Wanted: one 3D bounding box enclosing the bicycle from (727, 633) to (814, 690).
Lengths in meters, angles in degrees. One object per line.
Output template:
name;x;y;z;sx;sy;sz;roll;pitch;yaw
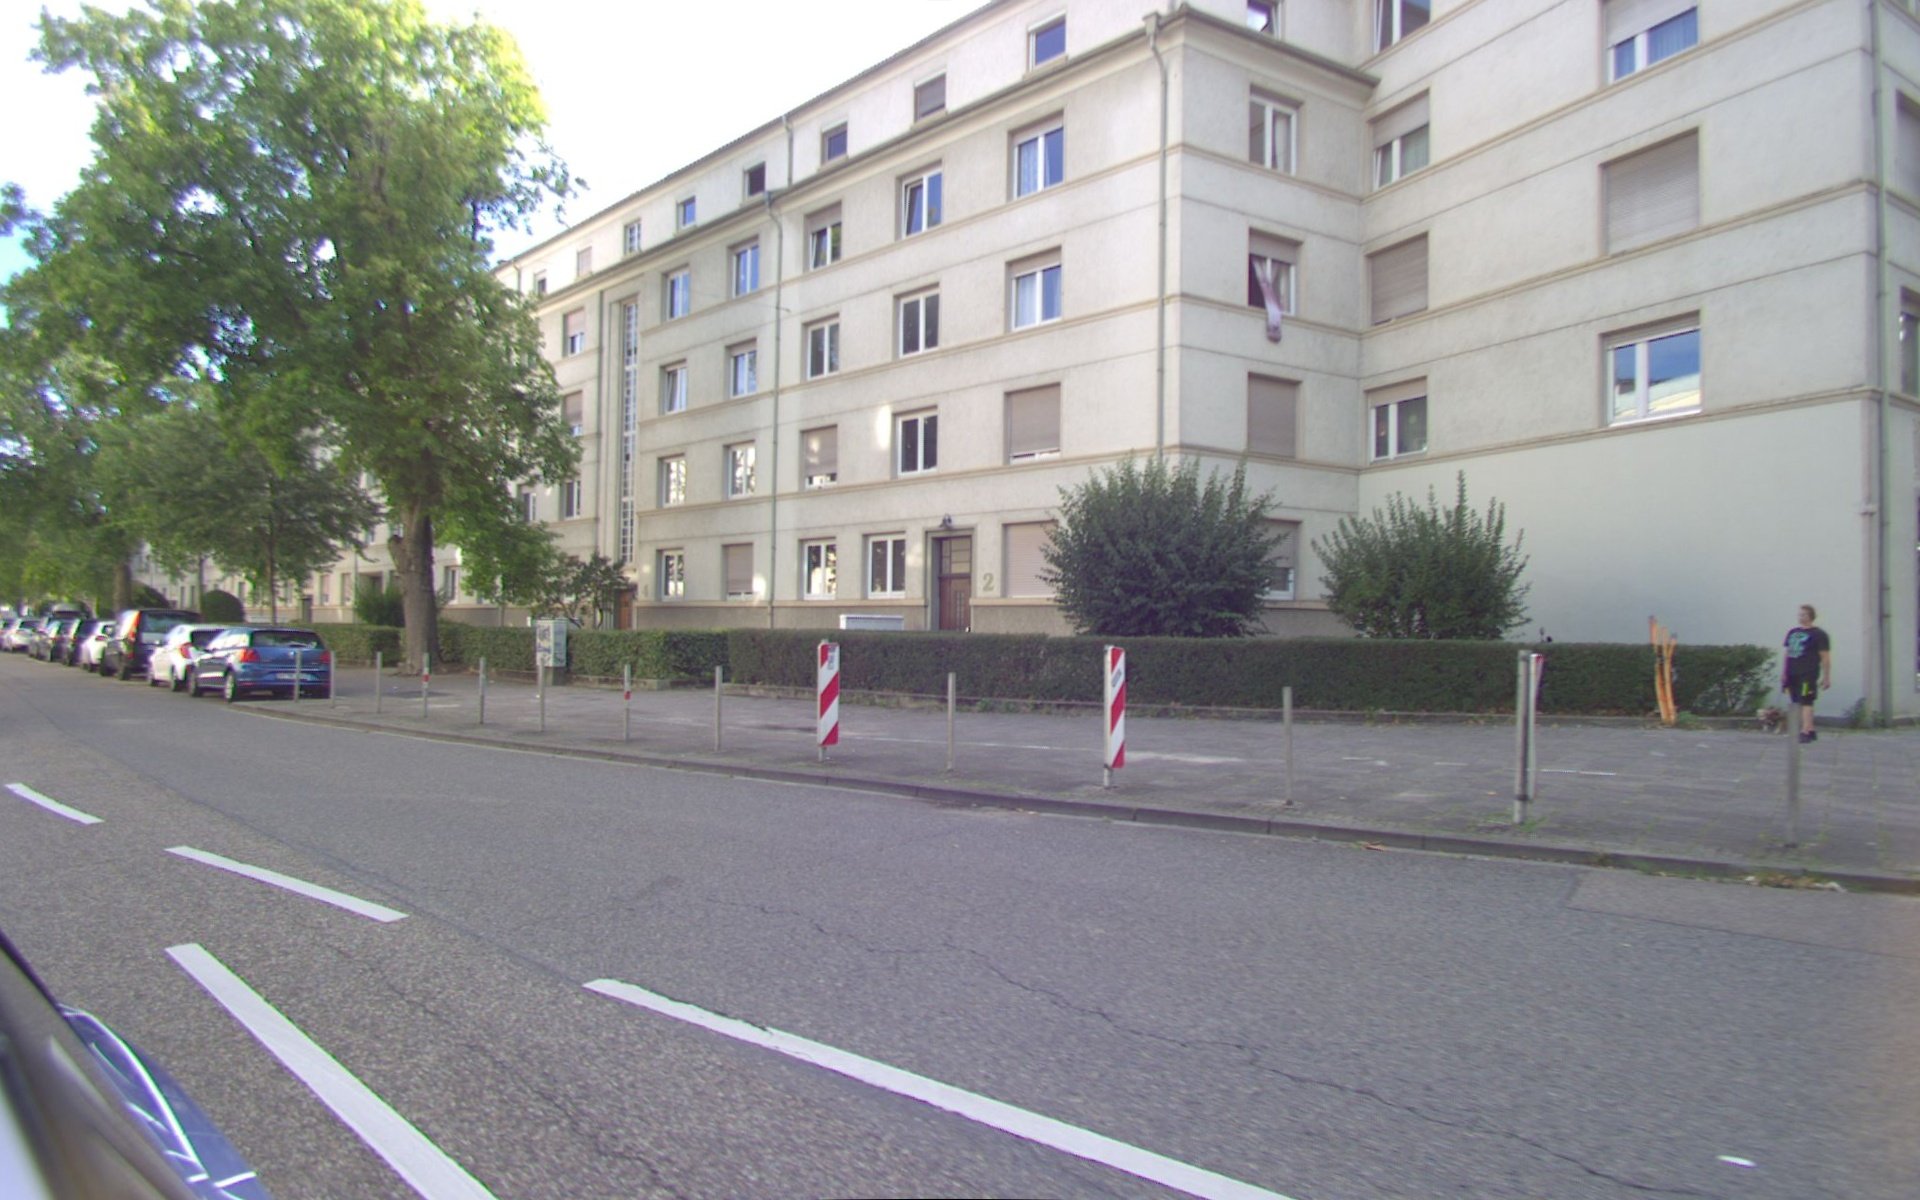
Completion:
bicycle;-3.918;1.251;21.065;0.597;1.140;1.849;-1;-2;38

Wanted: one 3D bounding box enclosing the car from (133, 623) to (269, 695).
car;-17.417;1.330;23.177;3.803;1.505;1.779;-1;-5;43

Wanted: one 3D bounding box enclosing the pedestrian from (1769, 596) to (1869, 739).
pedestrian;10.043;0.773;11.840;0.721;1.590;0.736;2;-3;-38

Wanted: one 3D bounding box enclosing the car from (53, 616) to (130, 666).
car;-28.553;1.345;33.241;3.016;1.532;1.535;-2;-5;43

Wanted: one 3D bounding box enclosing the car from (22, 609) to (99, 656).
car;-35.276;1.283;39.651;4.482;1.681;1.779;-1;-5;43

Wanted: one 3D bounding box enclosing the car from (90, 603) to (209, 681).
car;-21.513;1.106;26.803;4.190;1.897;1.704;-1;-4;42

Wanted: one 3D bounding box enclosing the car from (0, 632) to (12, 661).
car;-53.588;2.505;55.807;1.666;1.492;4.454;7;-6;-45

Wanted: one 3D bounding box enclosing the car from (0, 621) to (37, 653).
car;-45.596;1.754;48.378;4.010;1.479;1.598;-1;-3;40

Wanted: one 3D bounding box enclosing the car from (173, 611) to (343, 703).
car;-13.918;1.107;20.014;3.800;1.632;1.780;-1;-5;41

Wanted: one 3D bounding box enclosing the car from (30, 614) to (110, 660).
car;-31.520;1.304;35.825;3.848;1.498;1.681;-1;-5;43

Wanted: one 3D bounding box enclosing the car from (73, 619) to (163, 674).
car;-25.276;1.383;30.322;1.675;1.504;4.335;4;-4;-44

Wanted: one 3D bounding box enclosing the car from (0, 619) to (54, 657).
car;-42.259;1.674;45.527;3.992;1.632;1.721;-1;-2;41
